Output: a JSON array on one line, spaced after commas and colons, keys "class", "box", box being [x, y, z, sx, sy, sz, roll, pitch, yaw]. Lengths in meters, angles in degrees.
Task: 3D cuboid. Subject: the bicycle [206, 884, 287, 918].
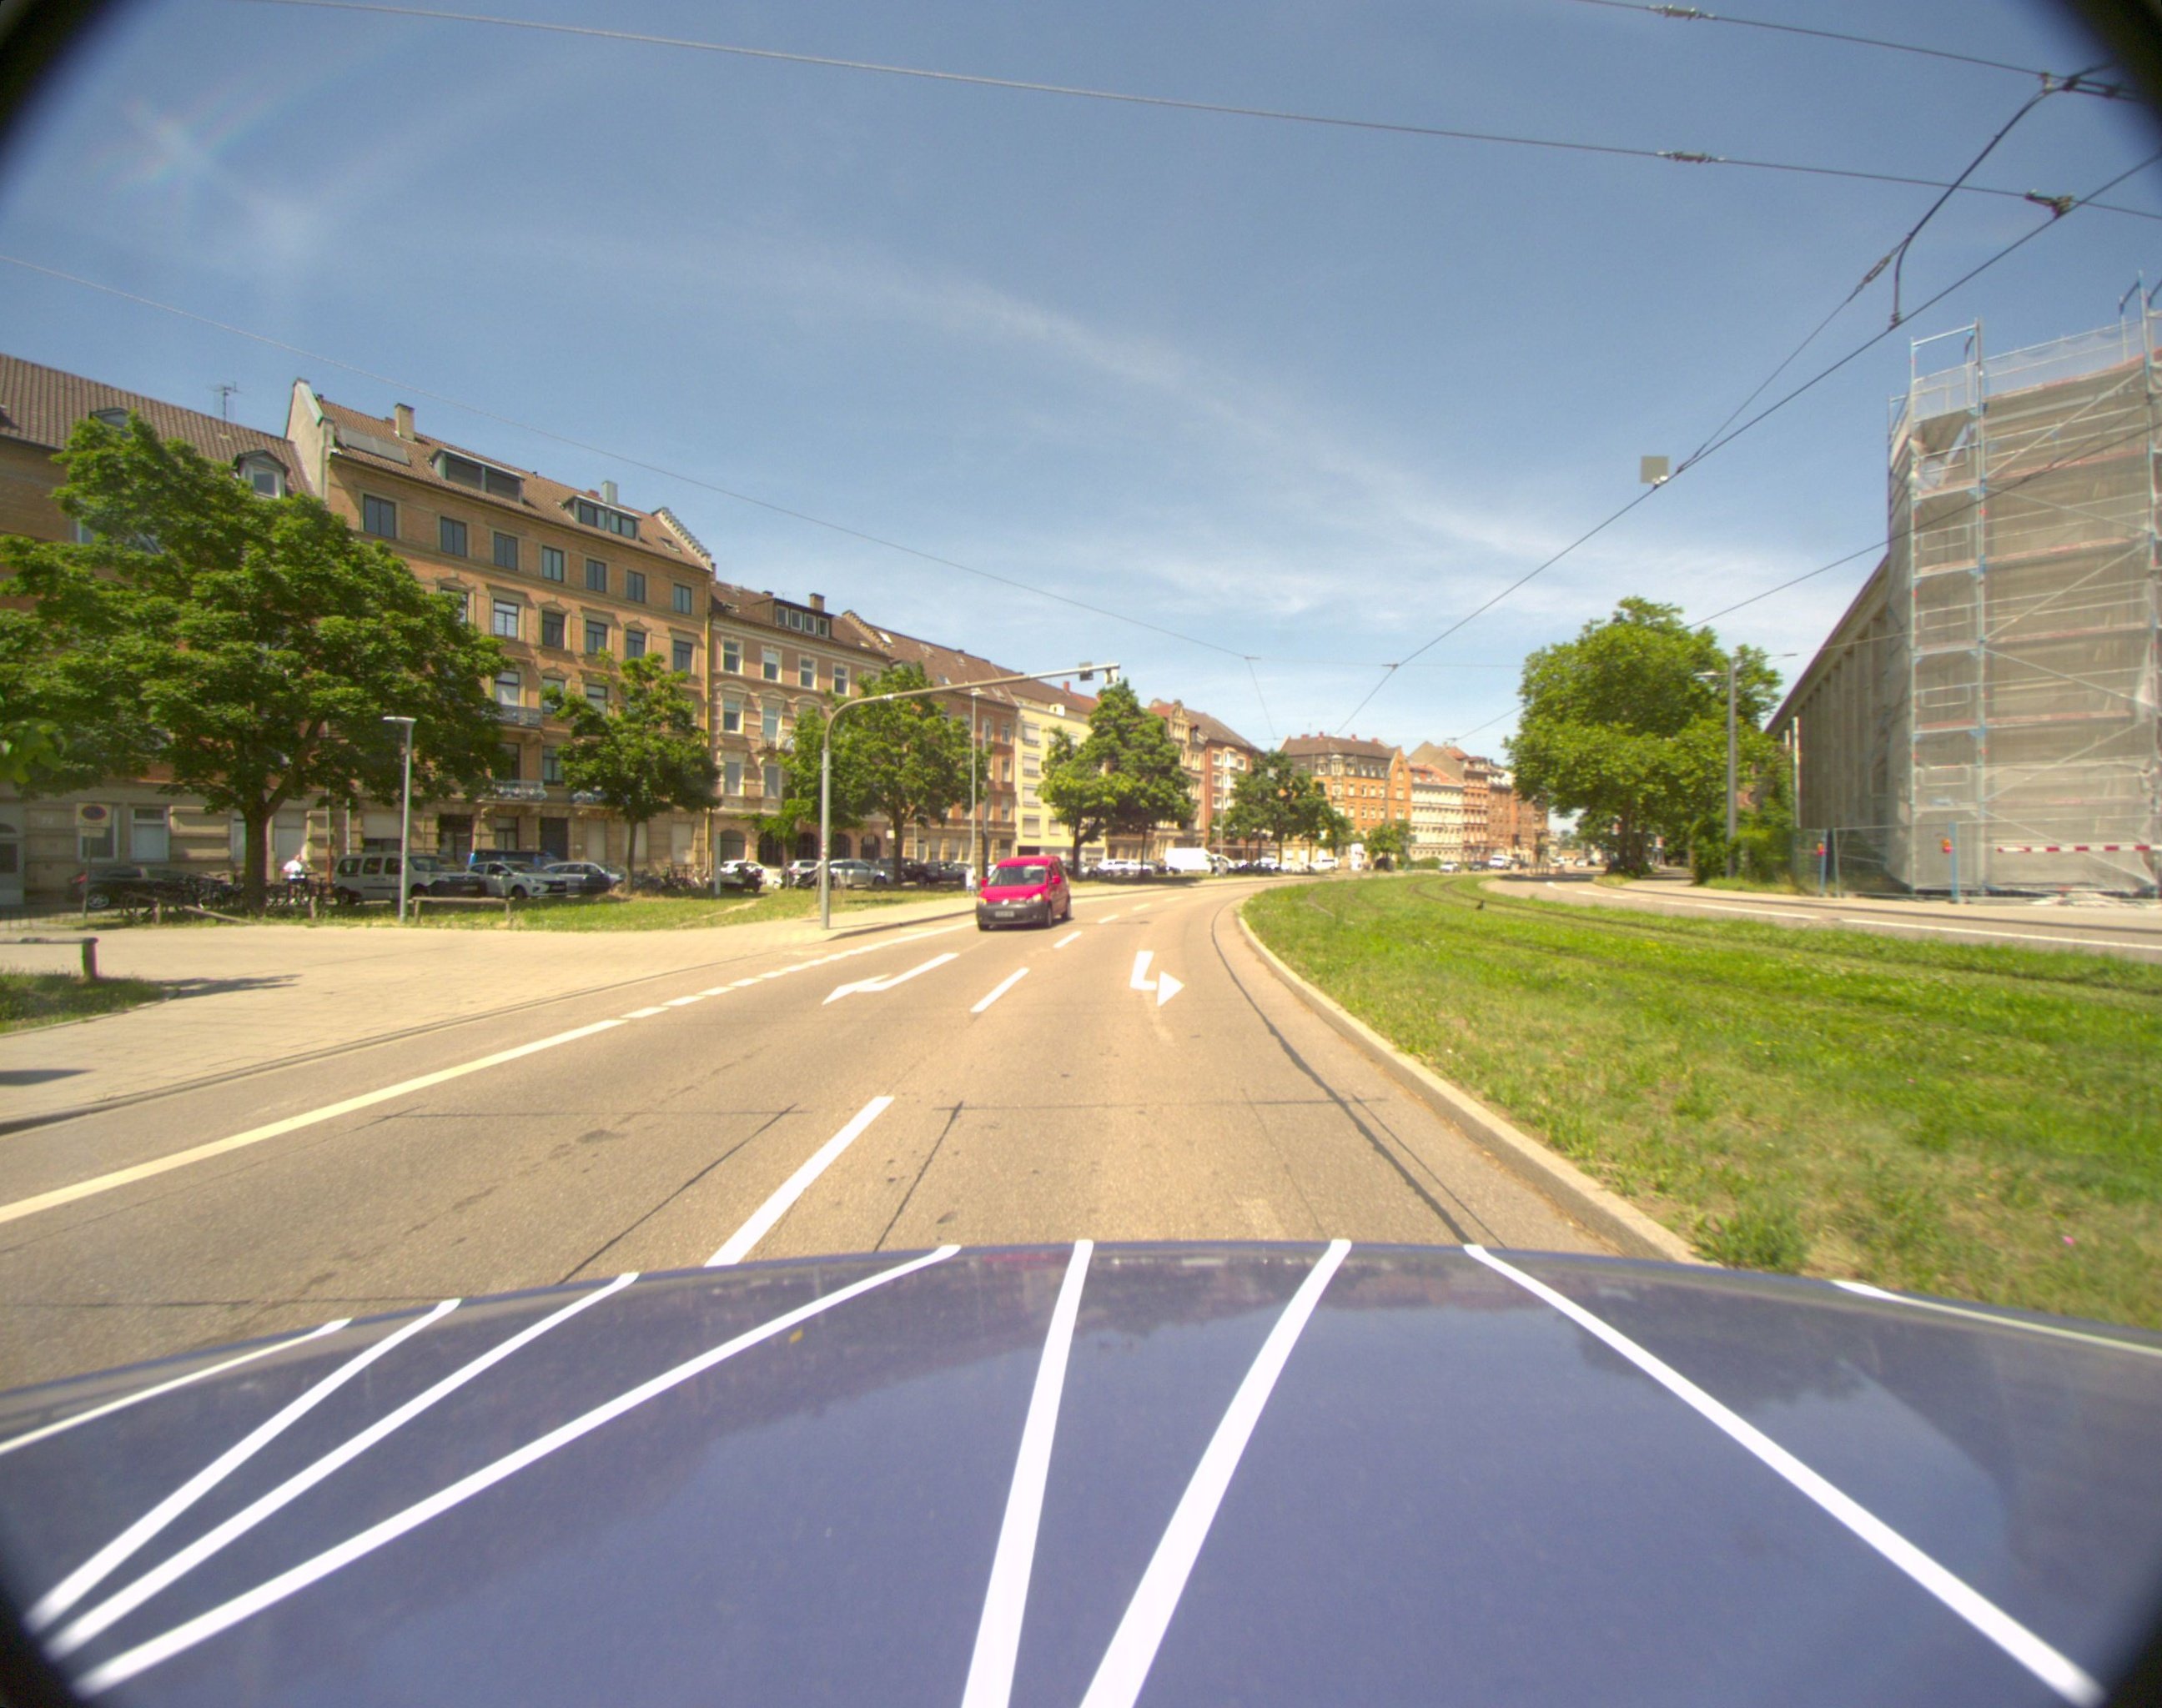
[{"class": "bicycle", "box": [-24.615, 1.378, 22.408, 2.048, 0.930, 0.509, -2, -1, 7]}]

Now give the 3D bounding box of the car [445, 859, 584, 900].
[{"class": "car", "box": [-20.306, 0.911, 27.292, 3.993, 1.324, 1.761, -2, -1, 11]}]

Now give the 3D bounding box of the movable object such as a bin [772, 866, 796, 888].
[{"class": "movable object such as a bin", "box": [-13.166, 1.011, 33.678, 0.703, 0.931, 0.986, -1, -1, -41]}]

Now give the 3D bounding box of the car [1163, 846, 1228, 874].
[{"class": "car", "box": [10.374, 0.559, 69.092, 5.547, 2.446, 2.238, -1, -1, 1]}]

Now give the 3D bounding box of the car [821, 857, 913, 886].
[{"class": "car", "box": [-11.067, 0.893, 39.400, 4.341, 1.368, 1.584, -2, -1, 12]}]

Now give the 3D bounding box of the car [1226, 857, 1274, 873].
[{"class": "car", "box": [17.120, 1.140, 76.815, 4.625, 1.488, 1.968, -2, -1, 14]}]

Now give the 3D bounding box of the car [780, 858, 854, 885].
[{"class": "car", "box": [-16.306, 1.064, 47.084, 1.837, 1.521, 4.009, -2, -1, 36]}]

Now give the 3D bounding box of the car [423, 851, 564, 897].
[{"class": "car", "box": [-26.192, 0.866, 34.026, 1.920, 1.892, 4.664, -2, -1, 38]}]

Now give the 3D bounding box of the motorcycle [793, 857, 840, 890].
[{"class": "motorcycle", "box": [-11.528, 0.848, 33.191, 0.675, 1.405, 1.860, 1, 0, 39]}]

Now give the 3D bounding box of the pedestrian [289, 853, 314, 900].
[{"class": "pedestrian", "box": [-30.166, 0.877, 29.396, 0.452, 1.808, 0.604, -2, -1, 38]}]

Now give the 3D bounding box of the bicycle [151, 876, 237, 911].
[{"class": "bicycle", "box": [-24.776, 1.109, 21.234, 2.048, 0.930, 0.509, -2, -1, 7]}]

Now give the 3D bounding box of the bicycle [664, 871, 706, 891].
[{"class": "bicycle", "box": [-16.247, 1.101, 31.208, 1.457, 0.800, 0.498, -1, -1, -18]}]

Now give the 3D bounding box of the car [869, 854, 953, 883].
[{"class": "car", "box": [-9.334, 0.794, 41.812, 4.086, 1.461, 1.800, -2, -1, 10]}]

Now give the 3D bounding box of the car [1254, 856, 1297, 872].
[{"class": "car", "box": [20.983, 1.090, 81.811, 4.404, 1.622, 2.003, -2, -1, 16]}]

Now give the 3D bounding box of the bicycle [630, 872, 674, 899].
[{"class": "bicycle", "box": [-15.710, 1.153, 27.821, 1.373, 0.941, 0.475, -1, -1, -31]}]

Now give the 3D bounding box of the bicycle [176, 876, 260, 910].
[{"class": "bicycle", "box": [-24.749, 1.123, 21.798, 2.048, 0.930, 0.509, -2, -1, 7]}]

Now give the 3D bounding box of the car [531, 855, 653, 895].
[{"class": "car", "box": [-18.936, 0.822, 29.472, 3.863, 1.424, 1.609, -2, -1, 9]}]

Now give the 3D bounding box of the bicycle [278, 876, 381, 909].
[{"class": "bicycle", "box": [-22.836, 1.158, 23.117, 2.426, 0.930, 0.508, -1, -1, -5]}]

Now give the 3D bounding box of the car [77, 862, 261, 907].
[{"class": "car", "box": [-31.629, 1.033, 26.453, 1.772, 1.411, 4.009, -2, -1, 37]}]

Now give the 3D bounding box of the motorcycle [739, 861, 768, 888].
[{"class": "motorcycle", "box": [-15.429, 0.962, 35.757, 0.814, 1.228, 2.080, -1, -1, -37]}]

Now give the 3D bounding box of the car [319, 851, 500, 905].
[{"class": "car", "box": [-21.926, 0.778, 24.864, 4.867, 1.591, 1.838, -2, -1, 11]}]

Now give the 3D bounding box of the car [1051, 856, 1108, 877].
[{"class": "car", "box": [-0.099, 0.910, 54.610, 3.996, 1.391, 1.713, -1, -1, 2]}]

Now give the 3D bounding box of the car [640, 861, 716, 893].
[{"class": "car", "box": [-18.296, 1.048, 34.418, 1.961, 1.368, 3.989, 0, -1, -44]}]

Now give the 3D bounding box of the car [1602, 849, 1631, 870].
[{"class": "car", "box": [37.596, 0.374, 53.395, 1.589, 1.415, 4.332, -2, -1, 34]}]

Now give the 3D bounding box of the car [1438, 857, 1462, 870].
[{"class": "car", "box": [45.167, 1.166, 92.958, 1.796, 1.564, 4.009, -2, -1, 39]}]

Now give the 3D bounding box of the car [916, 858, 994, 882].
[{"class": "car", "box": [-7.308, 0.928, 44.170, 3.992, 1.305, 1.975, -2, -1, 16]}]

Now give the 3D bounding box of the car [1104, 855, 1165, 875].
[{"class": "car", "box": [4.171, 0.901, 59.629, 4.689, 1.419, 1.973, -1, -1, 1]}]

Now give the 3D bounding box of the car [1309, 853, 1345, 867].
[{"class": "car", "box": [36.869, 0.902, 114.047, 4.842, 1.926, 2.171, -2, -1, 25]}]

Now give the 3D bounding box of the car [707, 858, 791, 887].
[{"class": "car", "box": [-18.939, 1.050, 43.489, 1.837, 1.521, 4.009, -2, -1, 40]}]

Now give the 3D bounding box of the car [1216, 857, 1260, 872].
[{"class": "car", "box": [15.361, 1.033, 74.128, 3.992, 1.378, 1.826, -2, -1, 17]}]

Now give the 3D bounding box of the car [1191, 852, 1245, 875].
[{"class": "car", "box": [12.872, 0.908, 71.600, 4.841, 1.961, 2.078, -2, -1, 9]}]

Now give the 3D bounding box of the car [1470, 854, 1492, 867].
[{"class": "car", "box": [54.050, 0.871, 102.725, 1.796, 1.564, 4.009, -2, -1, 39]}]

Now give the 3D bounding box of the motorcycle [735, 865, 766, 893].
[{"class": "motorcycle", "box": [-13.787, 1.045, 31.678, 1.521, 1.113, 0.479, -2, -1, 38]}]

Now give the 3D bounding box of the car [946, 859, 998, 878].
[{"class": "car", "box": [-8.183, 1.077, 57.300, 1.780, 1.411, 3.724, -2, -1, 37]}]

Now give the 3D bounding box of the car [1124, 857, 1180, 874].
[{"class": "car", "box": [5.808, 0.946, 62.564, 4.428, 1.330, 1.973, -1, -1, 1]}]

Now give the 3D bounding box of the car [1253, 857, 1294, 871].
[{"class": "car", "box": [19.995, 1.047, 78.945, 3.992, 1.391, 1.826, -2, -1, 17]}]

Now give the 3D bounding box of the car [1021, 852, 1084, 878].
[{"class": "car", "box": [-1.971, 0.750, 52.646, 3.994, 1.652, 1.974, -2, -1, 11]}]

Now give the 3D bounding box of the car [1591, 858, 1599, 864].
[{"class": "car", "box": [147.258, 2.031, 217.800, 1.747, 1.386, 4.356, -4, -2, 35]}]

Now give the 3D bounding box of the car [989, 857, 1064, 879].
[{"class": "car", "box": [-3.544, 0.908, 49.866, 4.785, 1.305, 2.149, -1, -1, -3]}]

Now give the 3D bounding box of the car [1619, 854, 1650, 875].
[{"class": "car", "box": [50.414, 0.976, 69.148, 1.994, 1.800, 4.310, -2, -1, 40]}]

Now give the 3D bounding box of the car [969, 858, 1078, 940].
[{"class": "car", "box": [-1.337, 1.073, 19.903, 1.858, 1.823, 5.170, -1, -1, 6]}]

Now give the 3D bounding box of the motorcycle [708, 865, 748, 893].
[{"class": "motorcycle", "box": [-14.402, 1.028, 31.006, 1.823, 1.113, 0.529, -2, -1, 31]}]

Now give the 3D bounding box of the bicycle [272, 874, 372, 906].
[{"class": "bicycle", "box": [-23.650, 1.114, 23.696, 2.427, 0.930, 0.508, 0, 0, -5]}]
